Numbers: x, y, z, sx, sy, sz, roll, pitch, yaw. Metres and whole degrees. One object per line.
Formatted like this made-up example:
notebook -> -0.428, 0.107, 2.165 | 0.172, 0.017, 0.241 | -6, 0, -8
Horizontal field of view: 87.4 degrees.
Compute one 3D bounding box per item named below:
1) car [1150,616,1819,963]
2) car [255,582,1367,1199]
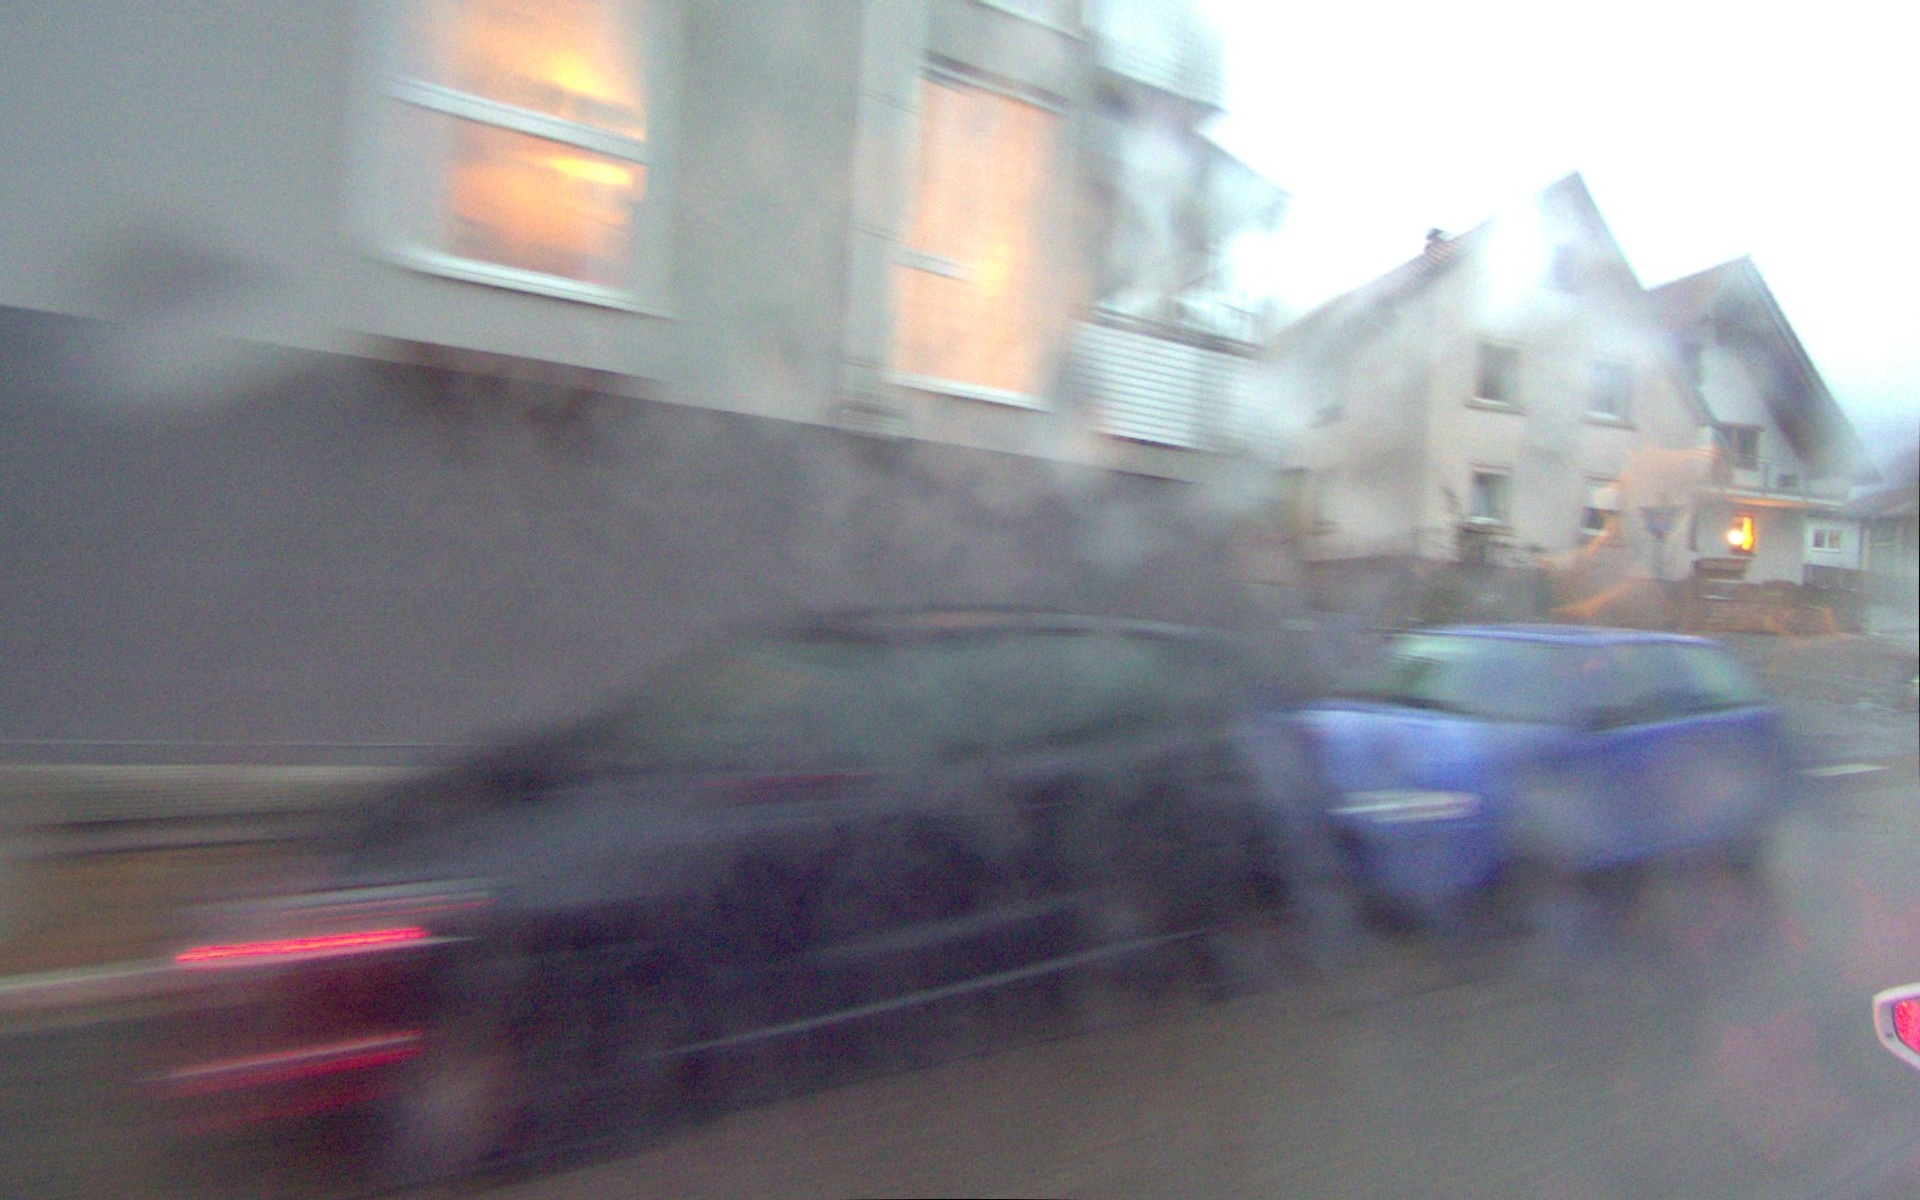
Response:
car -> 3.164, 0.838, 5.921 | 3.866, 1.428, 1.660 | 1, 0, -29
car -> -0.366, 0.724, 3.847 | 3.647, 1.437, 1.656 | 2, 1, -30
